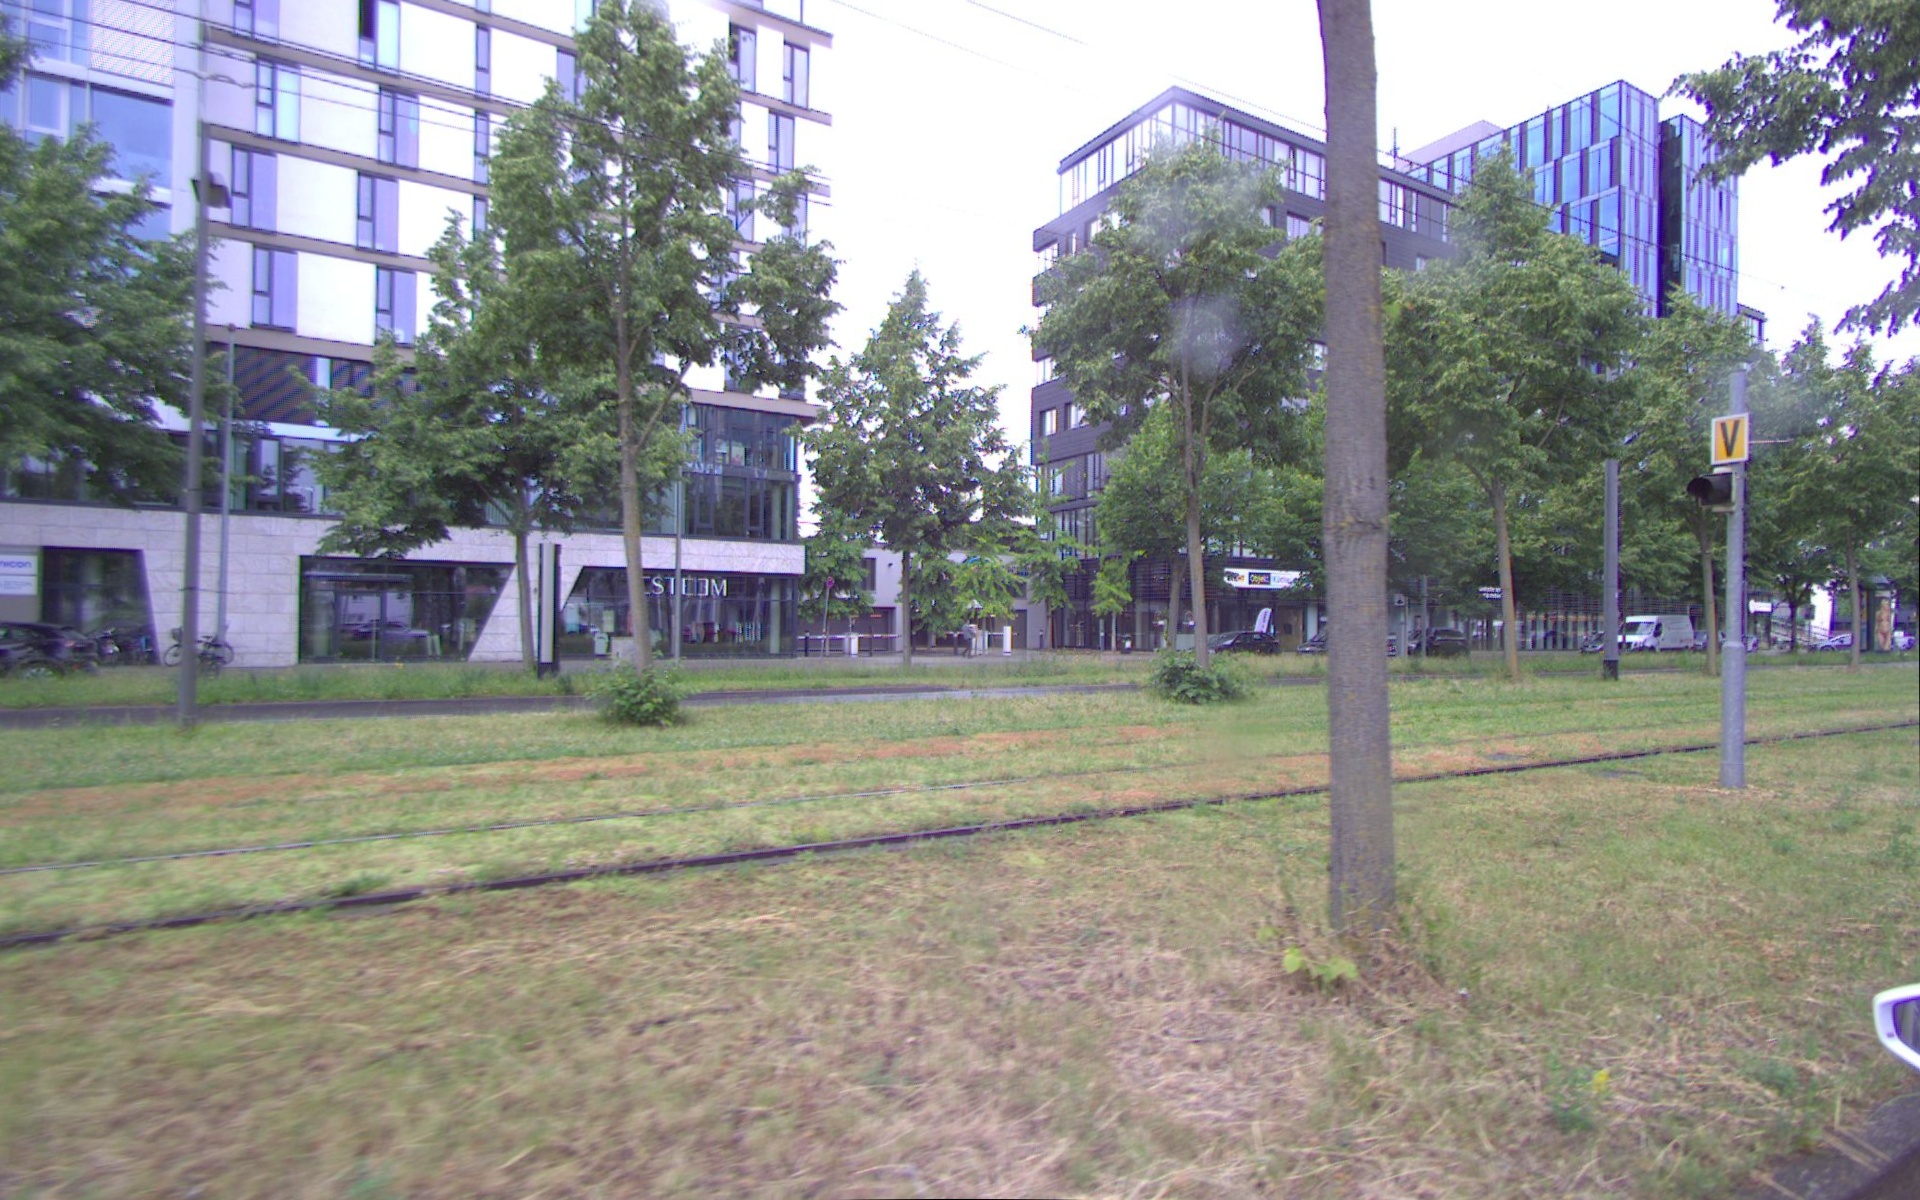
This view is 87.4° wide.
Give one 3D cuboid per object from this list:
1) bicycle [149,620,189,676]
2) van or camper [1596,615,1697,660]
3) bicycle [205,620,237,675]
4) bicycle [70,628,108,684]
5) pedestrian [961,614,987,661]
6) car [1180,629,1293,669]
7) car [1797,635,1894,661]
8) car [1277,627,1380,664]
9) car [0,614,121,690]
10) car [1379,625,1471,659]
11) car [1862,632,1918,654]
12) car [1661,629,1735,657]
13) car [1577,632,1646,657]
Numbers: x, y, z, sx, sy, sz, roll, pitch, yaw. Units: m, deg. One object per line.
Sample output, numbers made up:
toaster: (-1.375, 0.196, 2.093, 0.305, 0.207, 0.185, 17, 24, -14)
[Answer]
bicycle: (-23.005, 1.379, 29.233, 0.673, 1.559, 1.694, 1, -1, -31)
van or camper: (37.995, 2.068, 55.556, 5.783, 2.346, 2.421, 1, -1, -31)
bicycle: (-22.114, 1.403, 30.086, 0.600, 1.559, 1.559, 1, -1, -31)
bicycle: (-24.586, 1.569, 28.380, 0.540, 1.502, 1.424, 1, -1, -31)
pedestrian: (0.598, 1.609, 43.562, 0.844, 2.007, 0.793, 1, -1, -23)
car: (10.580, 1.853, 38.362, 3.954, 1.397, 1.983, 1, -1, -31)
car: (59.565, 3.194, 67.653, 4.598, 1.542, 1.996, 0, -1, 31)
car: (15.308, 1.873, 41.728, 3.954, 1.397, 1.983, 1, -1, -31)
car: (-19.731, 1.028, 20.317, 3.943, 1.484, 1.845, 1, -1, -32)
car: (20.815, 1.864, 44.895, 4.193, 1.468, 1.693, 1, -1, -31)
car: (69.359, 3.181, 74.907, 4.556, 1.542, 1.983, 1, -1, -32)
car: (43.067, 2.484, 58.575, 4.556, 1.542, 1.983, 1, -1, -32)
car: (38.726, 2.630, 59.695, 4.135, 1.397, 1.808, 1, -1, -31)
